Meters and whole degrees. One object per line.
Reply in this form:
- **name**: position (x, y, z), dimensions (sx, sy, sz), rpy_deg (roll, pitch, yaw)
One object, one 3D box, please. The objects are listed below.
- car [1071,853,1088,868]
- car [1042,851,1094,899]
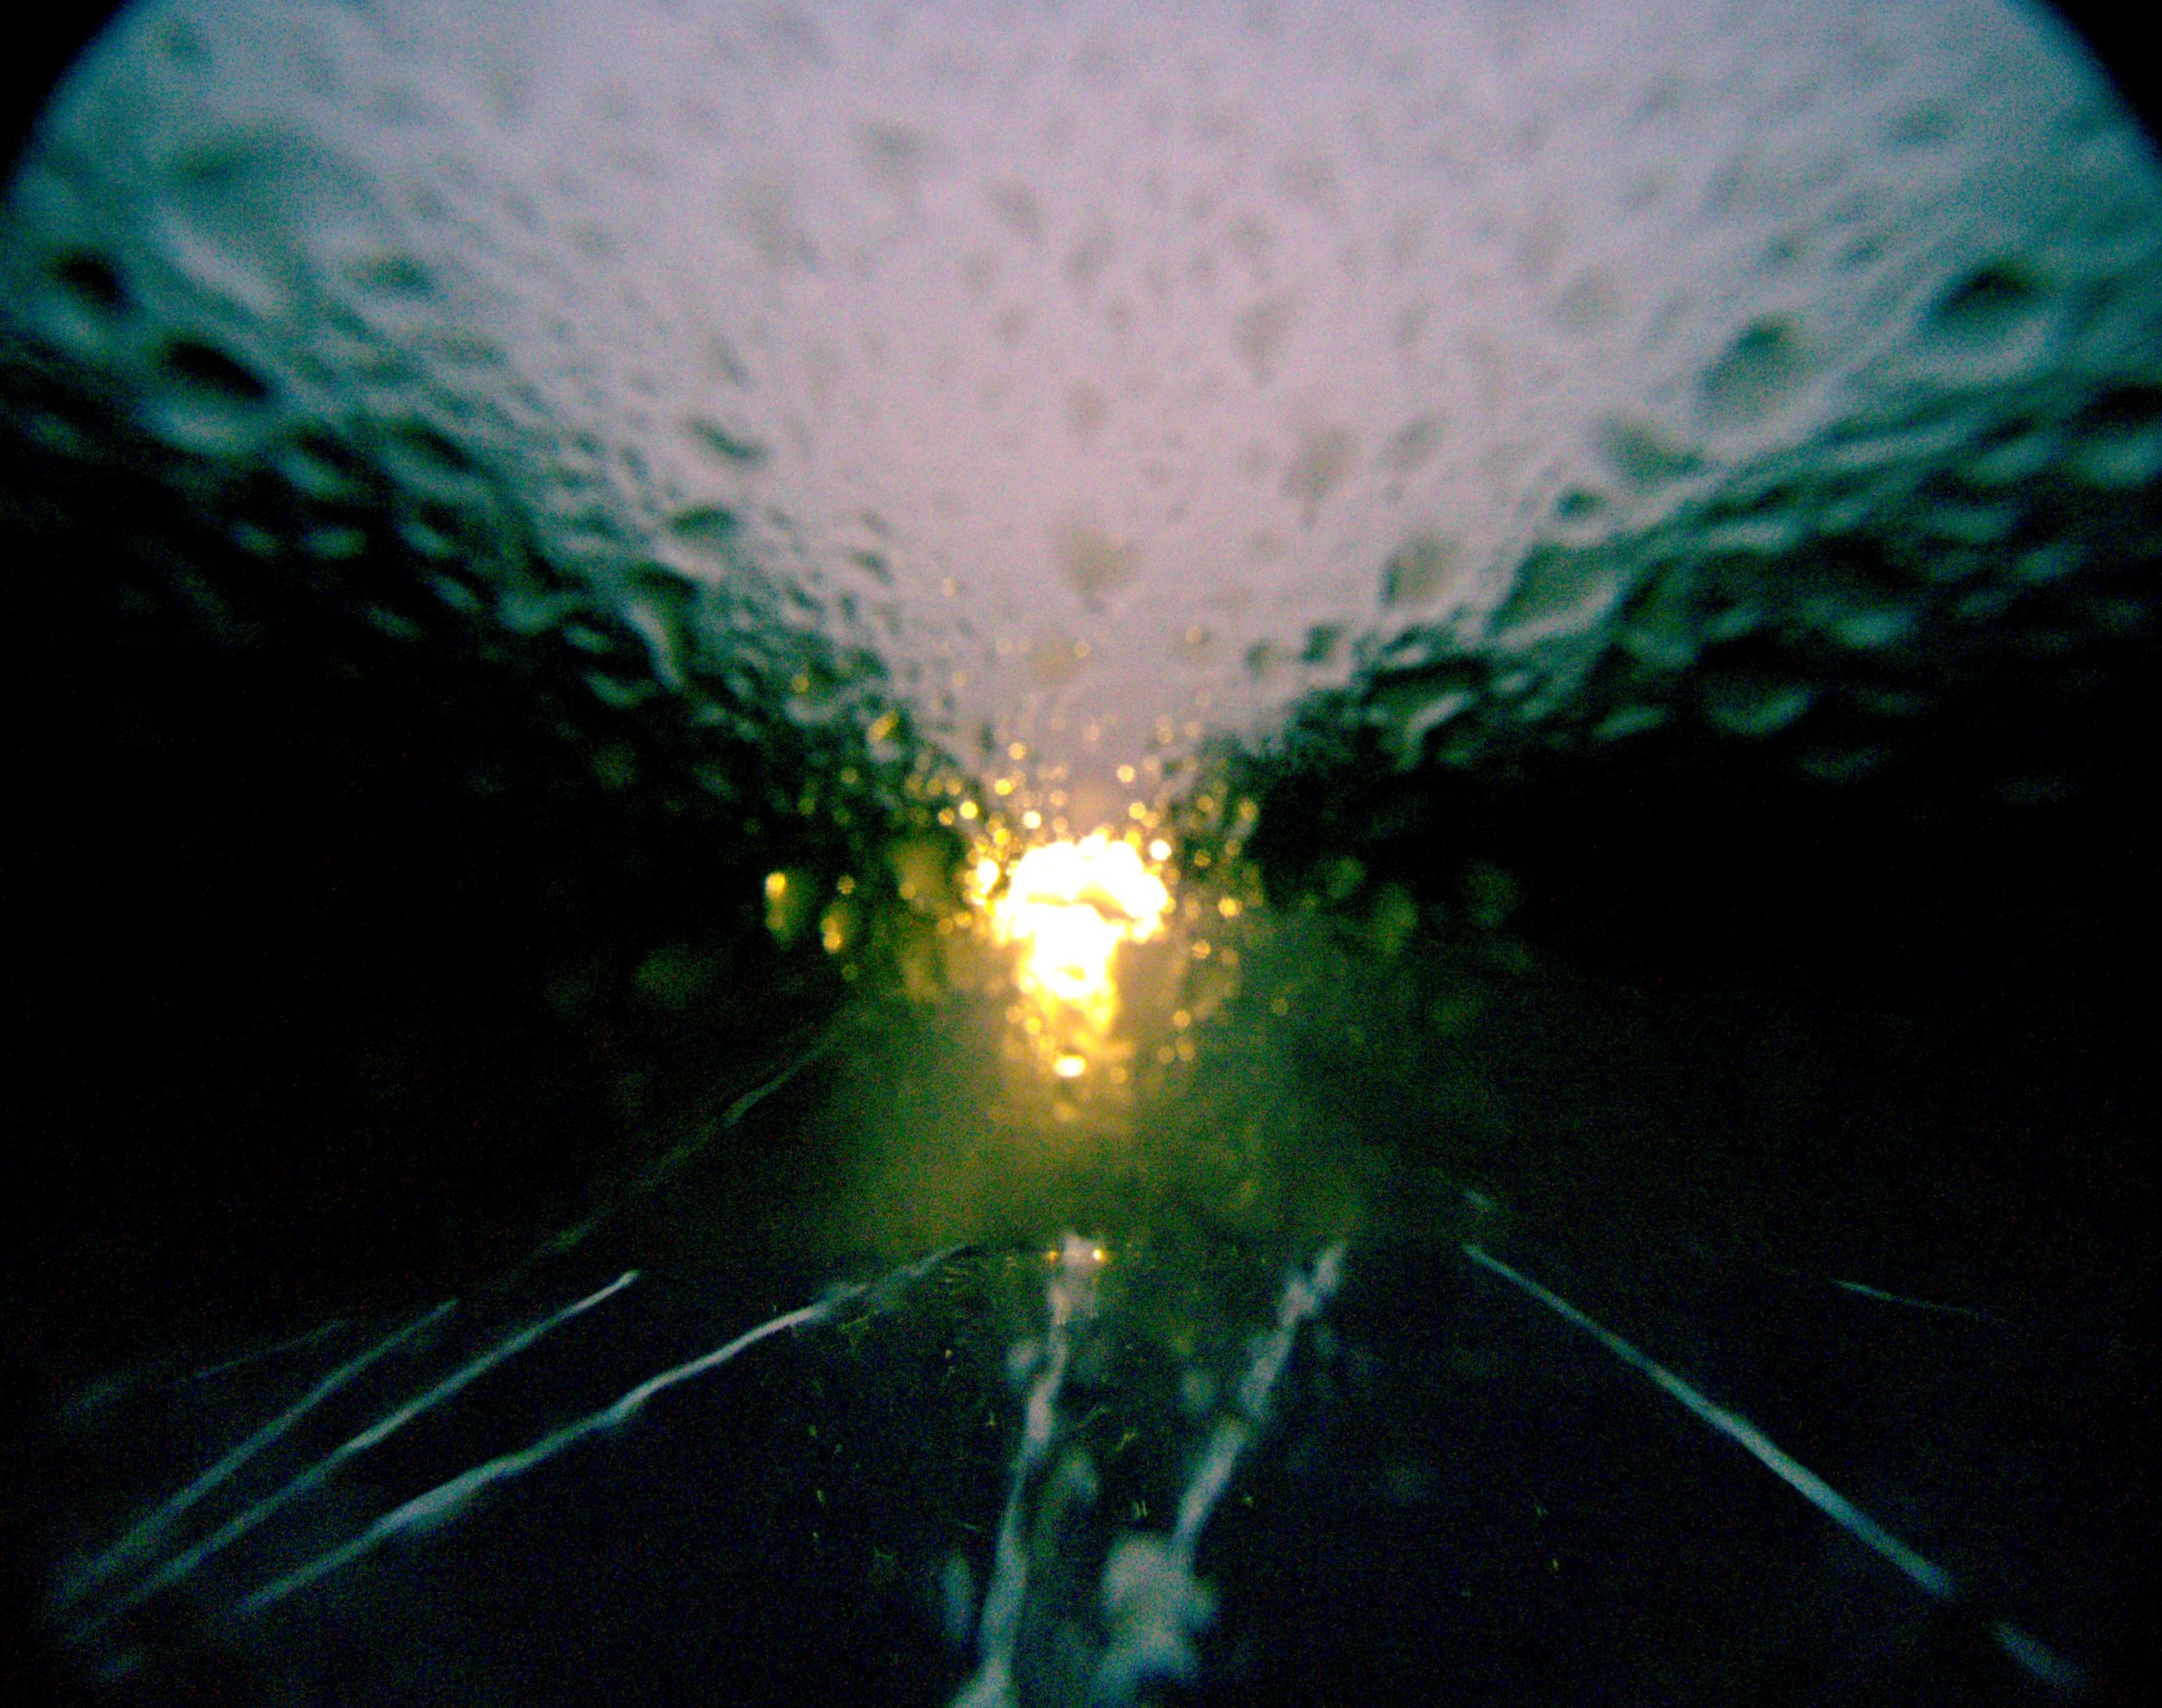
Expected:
- **car**: position (-0.170, 0.816, 93.047), dimensions (1.999, 1.752, 4.371), rpy_deg (-1, 0, 0)
- **car**: position (-0.425, 0.738, 29.001), dimensions (1.573, 1.701, 4.001), rpy_deg (-1, 0, 4)
